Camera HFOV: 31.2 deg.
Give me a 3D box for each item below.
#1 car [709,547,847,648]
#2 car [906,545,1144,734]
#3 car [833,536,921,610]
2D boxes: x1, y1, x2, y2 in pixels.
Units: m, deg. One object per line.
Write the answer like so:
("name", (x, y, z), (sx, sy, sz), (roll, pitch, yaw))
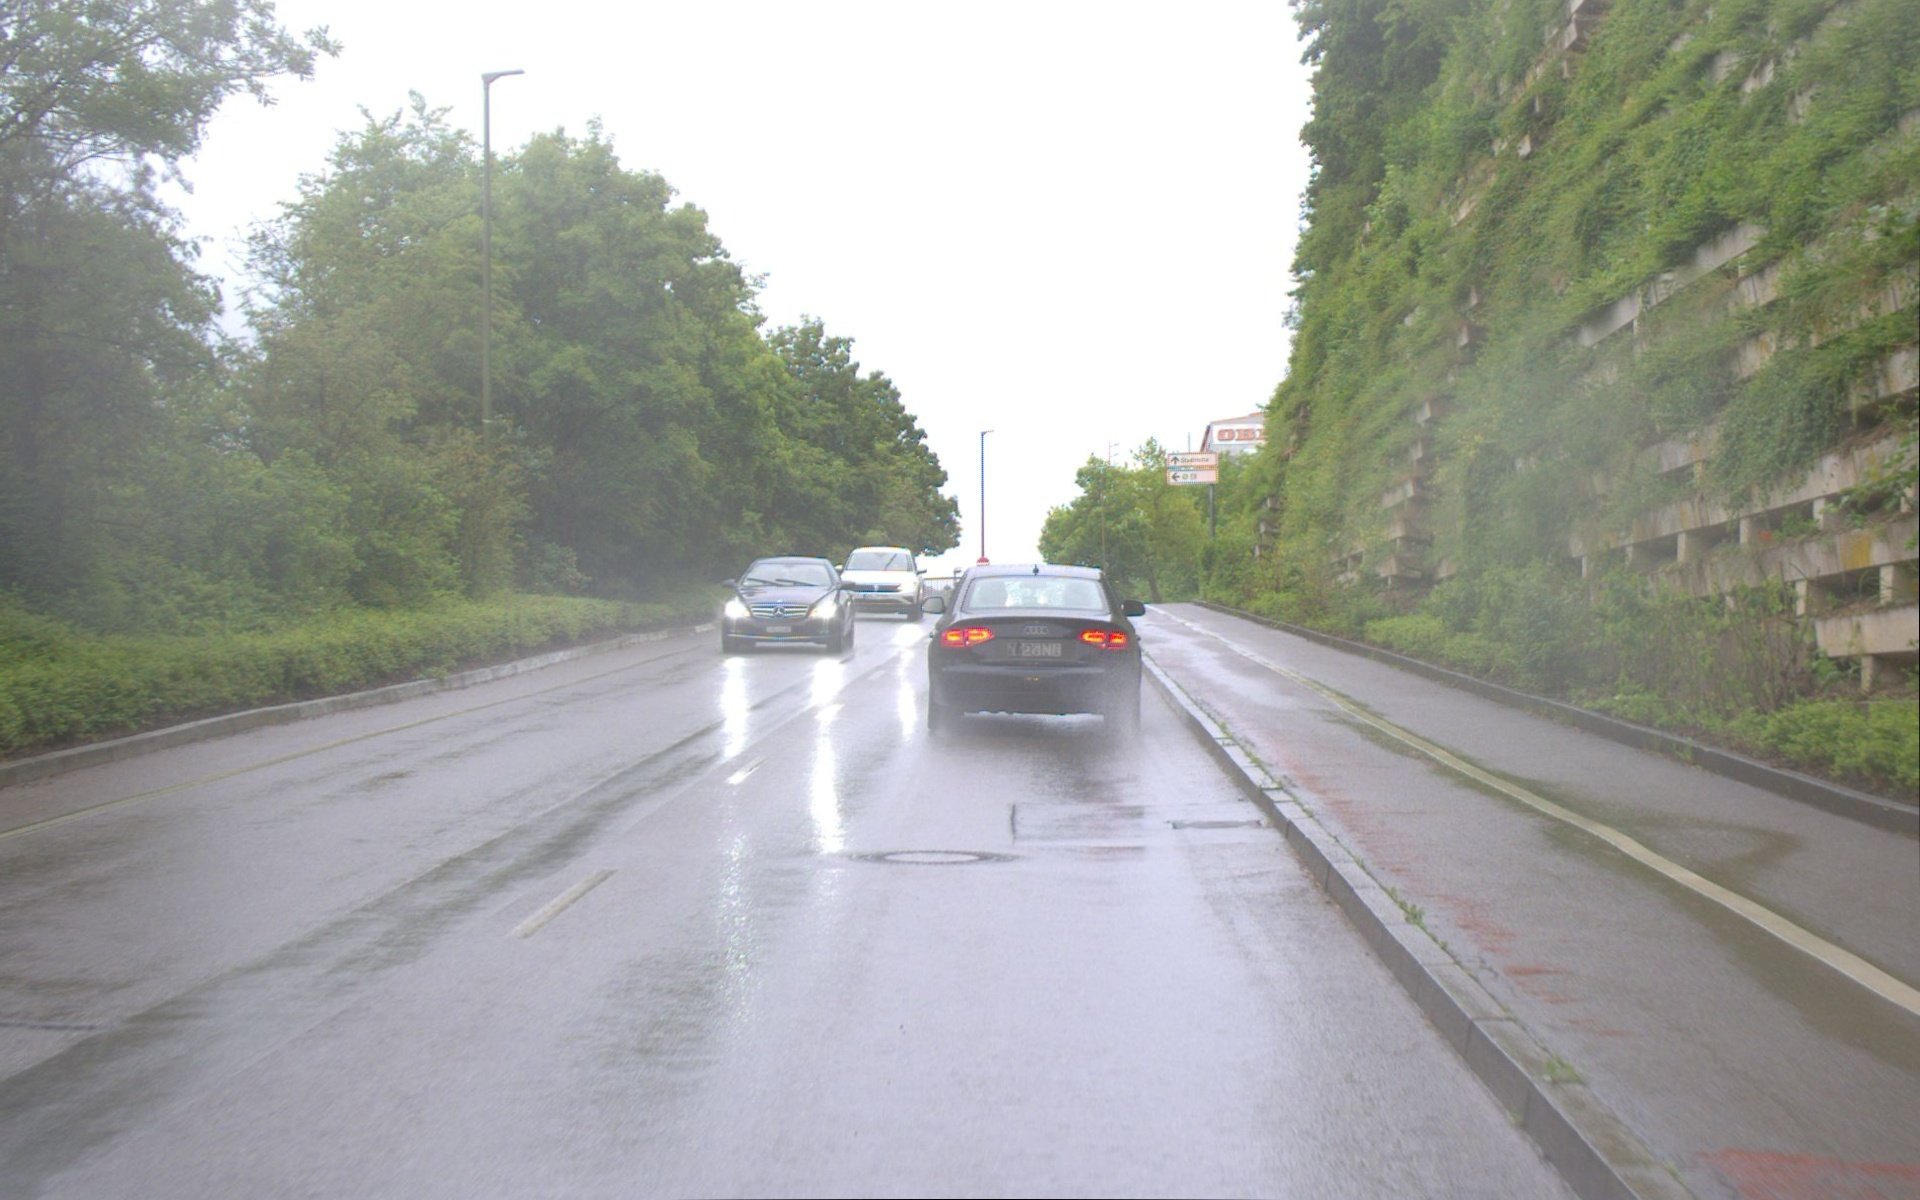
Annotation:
("car", (-2.696, -0.068, 51.773), (1.865, 1.444, 4.378), (0, 1, 0))
("car", (0.605, 0.282, 29.584), (1.893, 1.487, 4.207), (0, 1, 2))
("car", (-1.846, -0.624, 77.675), (1.823, 1.609, 4.093), (0, 1, 1))
